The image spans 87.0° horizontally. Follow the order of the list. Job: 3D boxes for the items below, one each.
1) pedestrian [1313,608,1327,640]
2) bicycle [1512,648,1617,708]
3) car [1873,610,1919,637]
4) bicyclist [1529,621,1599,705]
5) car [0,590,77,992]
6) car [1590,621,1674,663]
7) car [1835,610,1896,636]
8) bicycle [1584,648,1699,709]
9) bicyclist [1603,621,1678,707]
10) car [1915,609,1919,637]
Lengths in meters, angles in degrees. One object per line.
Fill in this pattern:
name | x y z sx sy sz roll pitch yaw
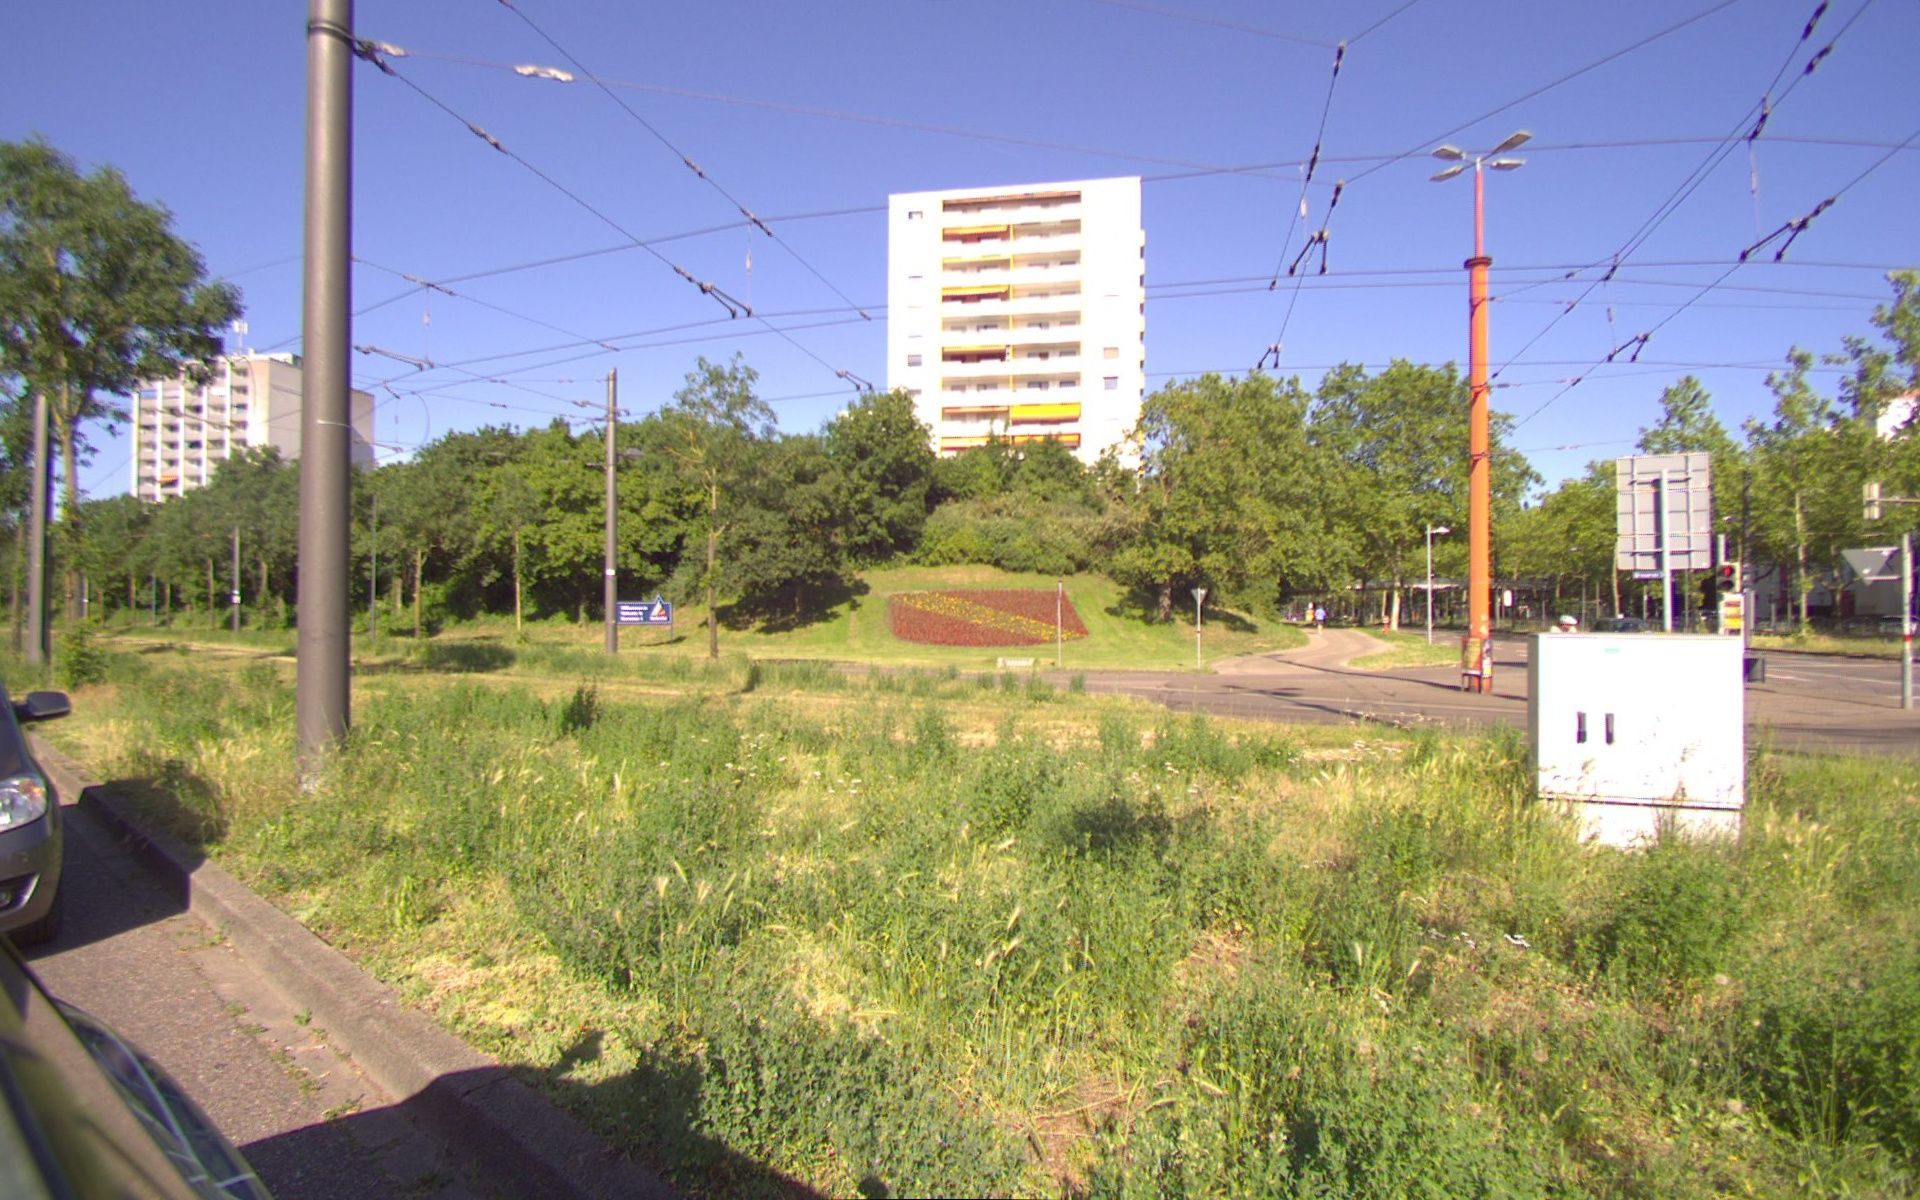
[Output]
pedestrian | 22.347 1.474 62.837 0.729 1.949 0.726 -1 -2 24
bicycle | 12.090 1.532 20.313 0.915 1.095 1.888 0 -1 -2
car | 65.243 1.640 69.864 3.931 1.829 2.006 1 -2 -27
bicyclist | 12.094 1.254 20.296 0.920 1.650 0.741 0 -1 -1
car | -5.941 0.794 5.036 4.382 1.619 1.754 -1 -2 41
car | 27.129 1.669 40.990 1.928 1.606 3.882 -1 -1 20
car | 66.010 1.696 73.760 3.931 1.829 2.006 1 -2 -27
bicycle | 13.355 1.516 19.911 0.915 1.095 1.888 0 -1 -2
bicyclist | 13.352 1.237 19.877 0.920 1.650 0.741 0 -1 -1
car | 64.401 1.502 65.902 3.931 1.829 2.006 1 -2 -27
